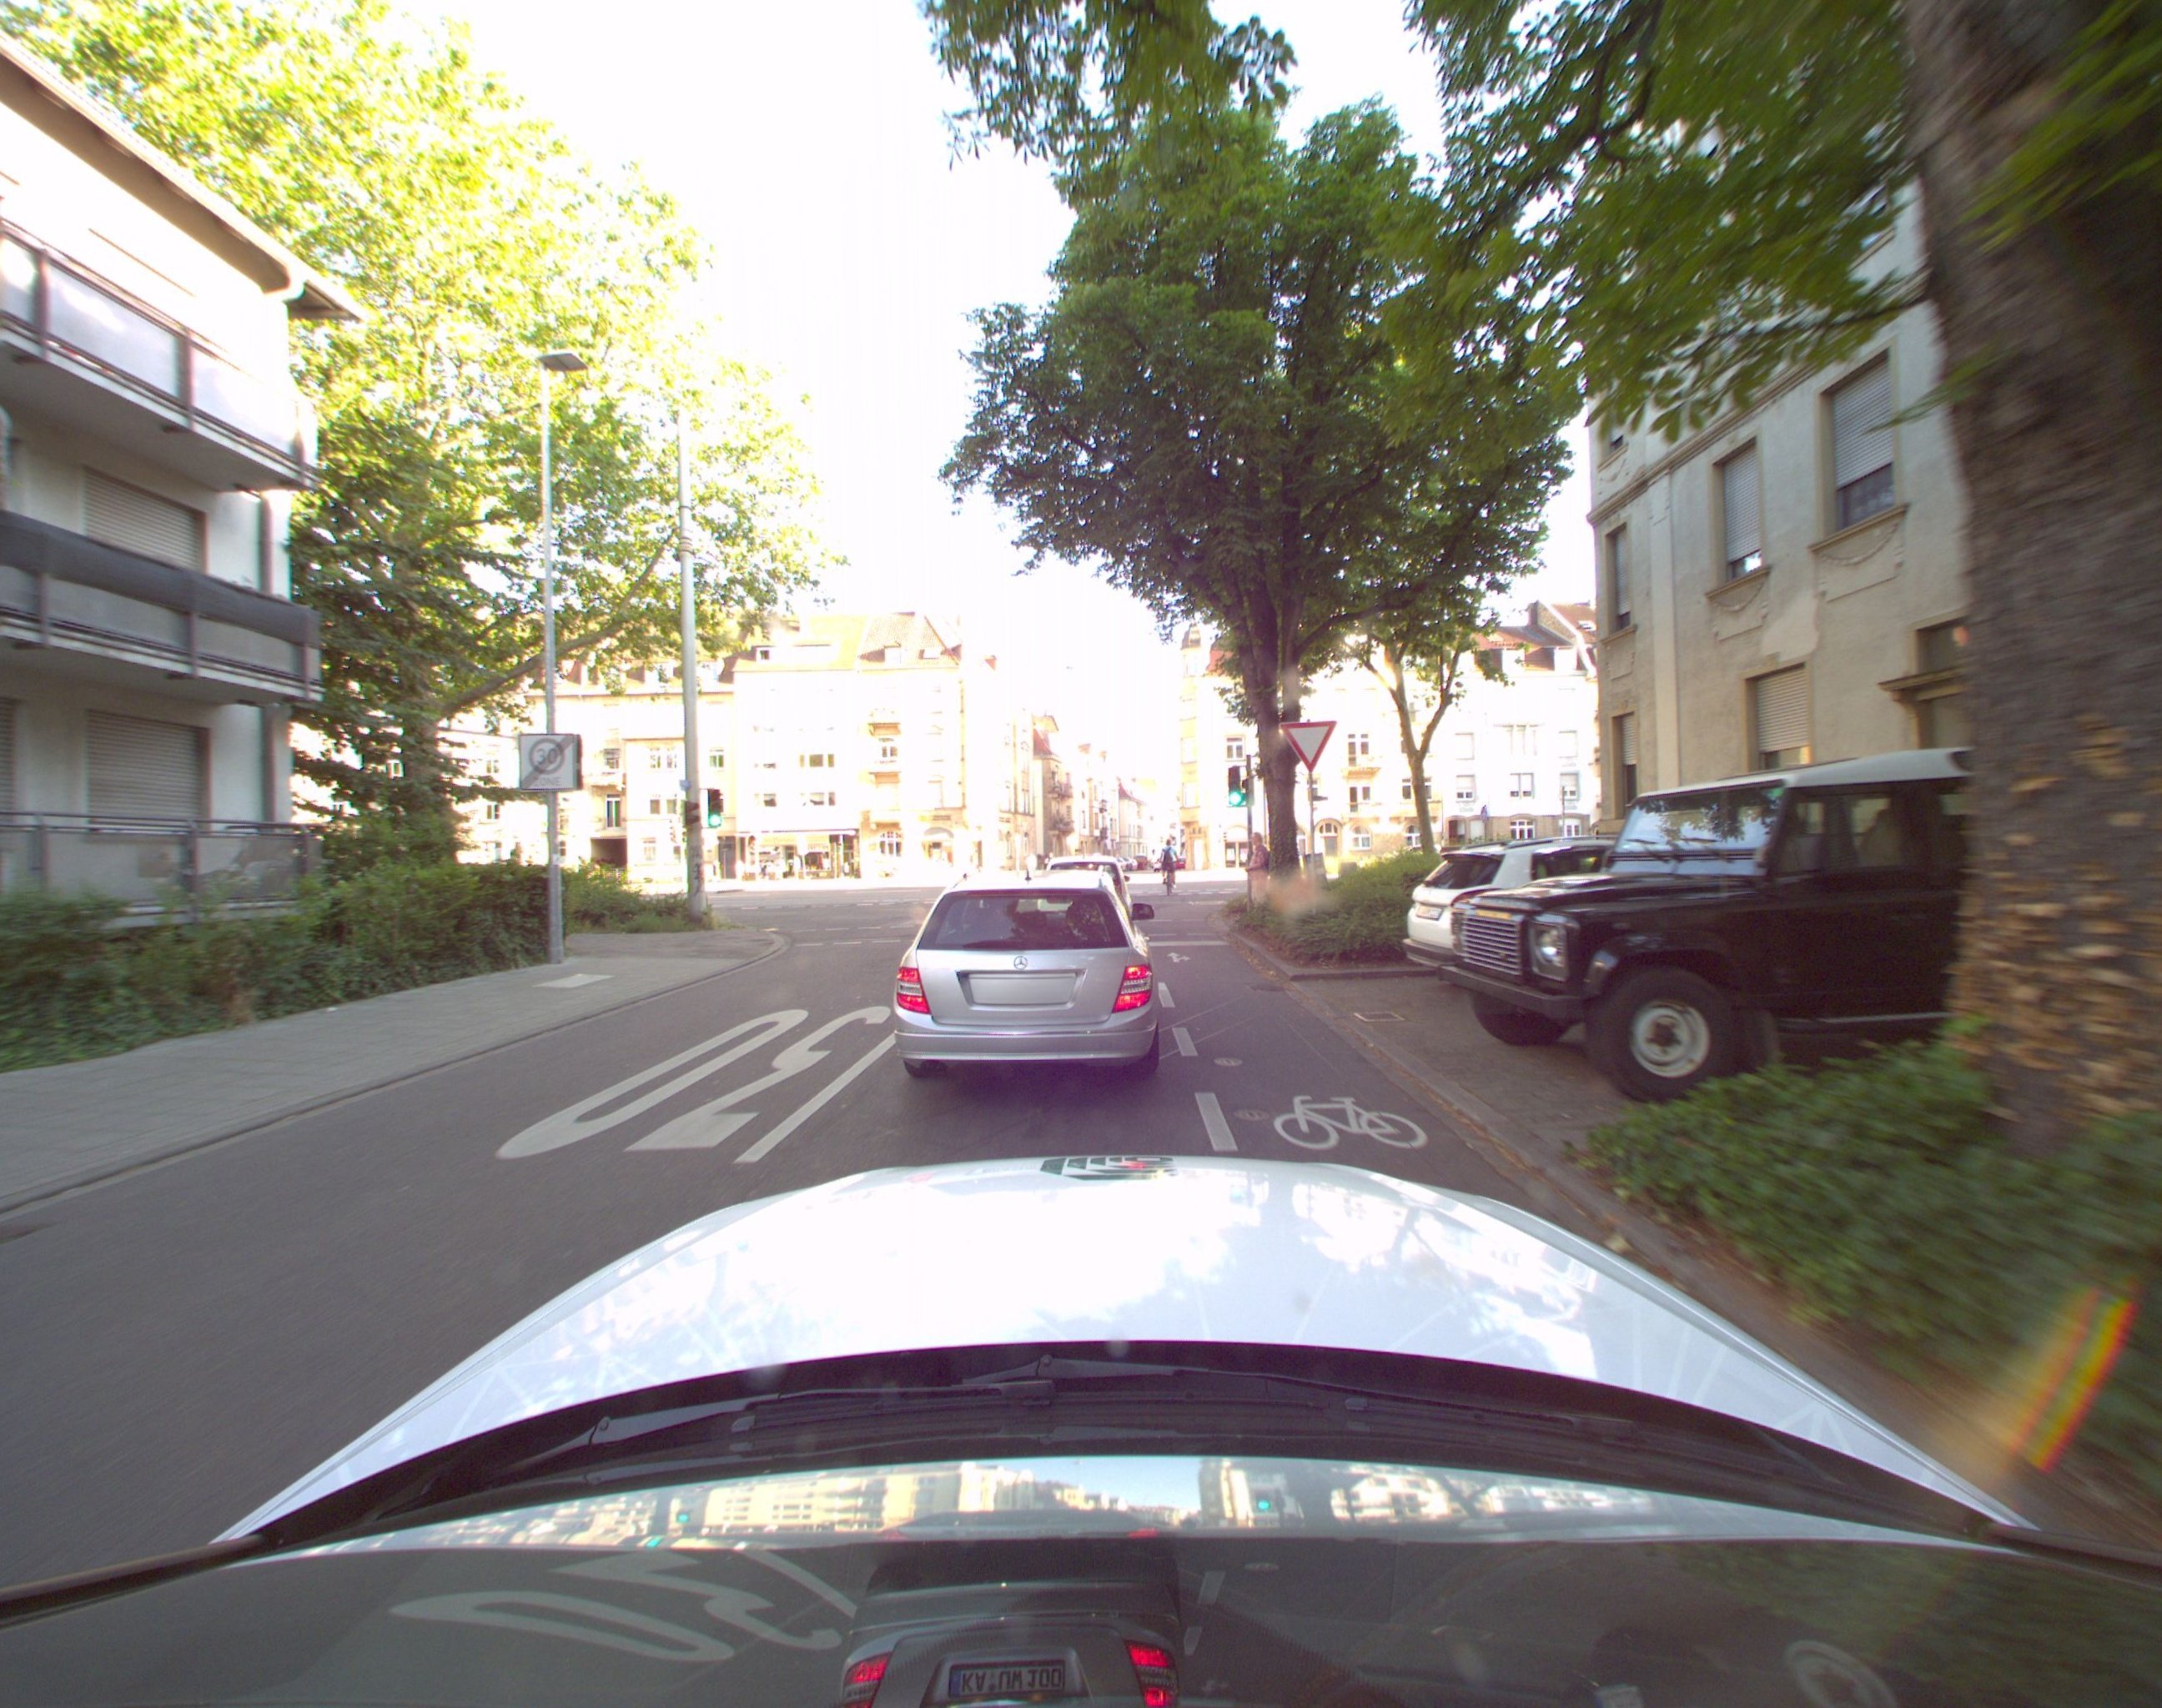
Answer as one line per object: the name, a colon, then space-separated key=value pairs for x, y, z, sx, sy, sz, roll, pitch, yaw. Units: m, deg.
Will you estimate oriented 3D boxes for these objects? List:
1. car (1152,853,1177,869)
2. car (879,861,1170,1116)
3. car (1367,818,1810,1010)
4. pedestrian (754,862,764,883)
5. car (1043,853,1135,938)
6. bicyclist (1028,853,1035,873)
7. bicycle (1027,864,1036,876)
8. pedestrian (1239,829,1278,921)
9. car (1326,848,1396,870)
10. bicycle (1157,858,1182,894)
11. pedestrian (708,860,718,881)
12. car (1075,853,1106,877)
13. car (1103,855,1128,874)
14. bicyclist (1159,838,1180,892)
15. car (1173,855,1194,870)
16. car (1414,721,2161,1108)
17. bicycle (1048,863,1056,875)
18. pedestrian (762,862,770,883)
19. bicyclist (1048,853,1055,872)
car: x=8.321 y=0.680 z=81.203 sx=1.708 sy=1.478 sz=4.017 roll=-3 pitch=0 yaw=16
car: x=-0.302 y=0.795 z=6.467 sx=1.684 sy=1.429 sz=3.492 roll=0 pitch=0 yaw=1
car: x=4.992 y=0.541 z=8.338 sx=3.473 sy=1.586 sz=1.709 roll=-3 pitch=0 yaw=-3
pedestrian: x=-24.125 y=1.376 z=61.083 sx=0.507 sy=1.511 sz=0.536 roll=-1 pitch=0 yaw=-3
car: x=0.188 y=0.700 z=15.468 sx=1.527 sy=1.391 sz=3.601 roll=-1 pitch=0 yaw=2
bicyclist: x=-3.802 y=0.693 z=62.709 sx=0.465 sy=1.514 sz=0.655 roll=-1 pitch=0 yaw=0
bicycle: x=-3.795 y=1.210 z=62.686 sx=0.567 sy=0.834 sz=1.565 roll=-1 pitch=0 yaw=0
pedestrian: x=3.639 y=0.427 z=16.742 sx=0.630 sy=1.844 sz=0.574 roll=-1 pitch=0 yaw=-1
car: x=15.347 y=0.272 z=44.738 sx=3.351 sy=1.069 sz=1.381 roll=-1 pitch=0 yaw=2
bicycle: x=2.954 y=0.722 z=27.336 sx=0.739 sy=1.118 sz=2.015 roll=0 pitch=0 yaw=3
pedestrian: x=-26.989 y=1.212 z=59.770 sx=0.566 sy=1.511 sz=0.499 roll=-1 pitch=0 yaw=-16
car: x=0.861 y=0.916 z=71.417 sx=1.925 sy=1.958 sz=4.163 roll=-1 pitch=0 yaw=11
car: x=3.500 y=1.020 z=81.276 sx=1.674 sy=1.722 sz=4.015 roll=-1 pitch=0 yaw=14
bicyclist: x=2.930 y=0.355 z=27.157 sx=0.644 sy=1.775 sz=0.831 roll=0 pitch=0 yaw=3
car: x=12.238 y=1.021 z=97.085 sx=1.708 sy=1.478 sz=4.017 roll=-6 pitch=-1 yaw=16
car: x=4.870 y=0.306 z=5.444 sx=4.476 sy=1.956 sz=1.793 roll=-3 pitch=0 yaw=0
bicycle: x=-2.272 y=1.168 z=63.754 sx=0.567 sy=0.834 sz=1.565 roll=-1 pitch=0 yaw=0
pedestrian: x=-23.510 y=1.365 z=60.820 sx=0.474 sy=1.511 sz=0.428 roll=-1 pitch=0 yaw=-17
bicyclist: x=-2.292 y=0.668 z=63.750 sx=0.465 sy=1.521 sz=0.694 roll=-1 pitch=0 yaw=0
